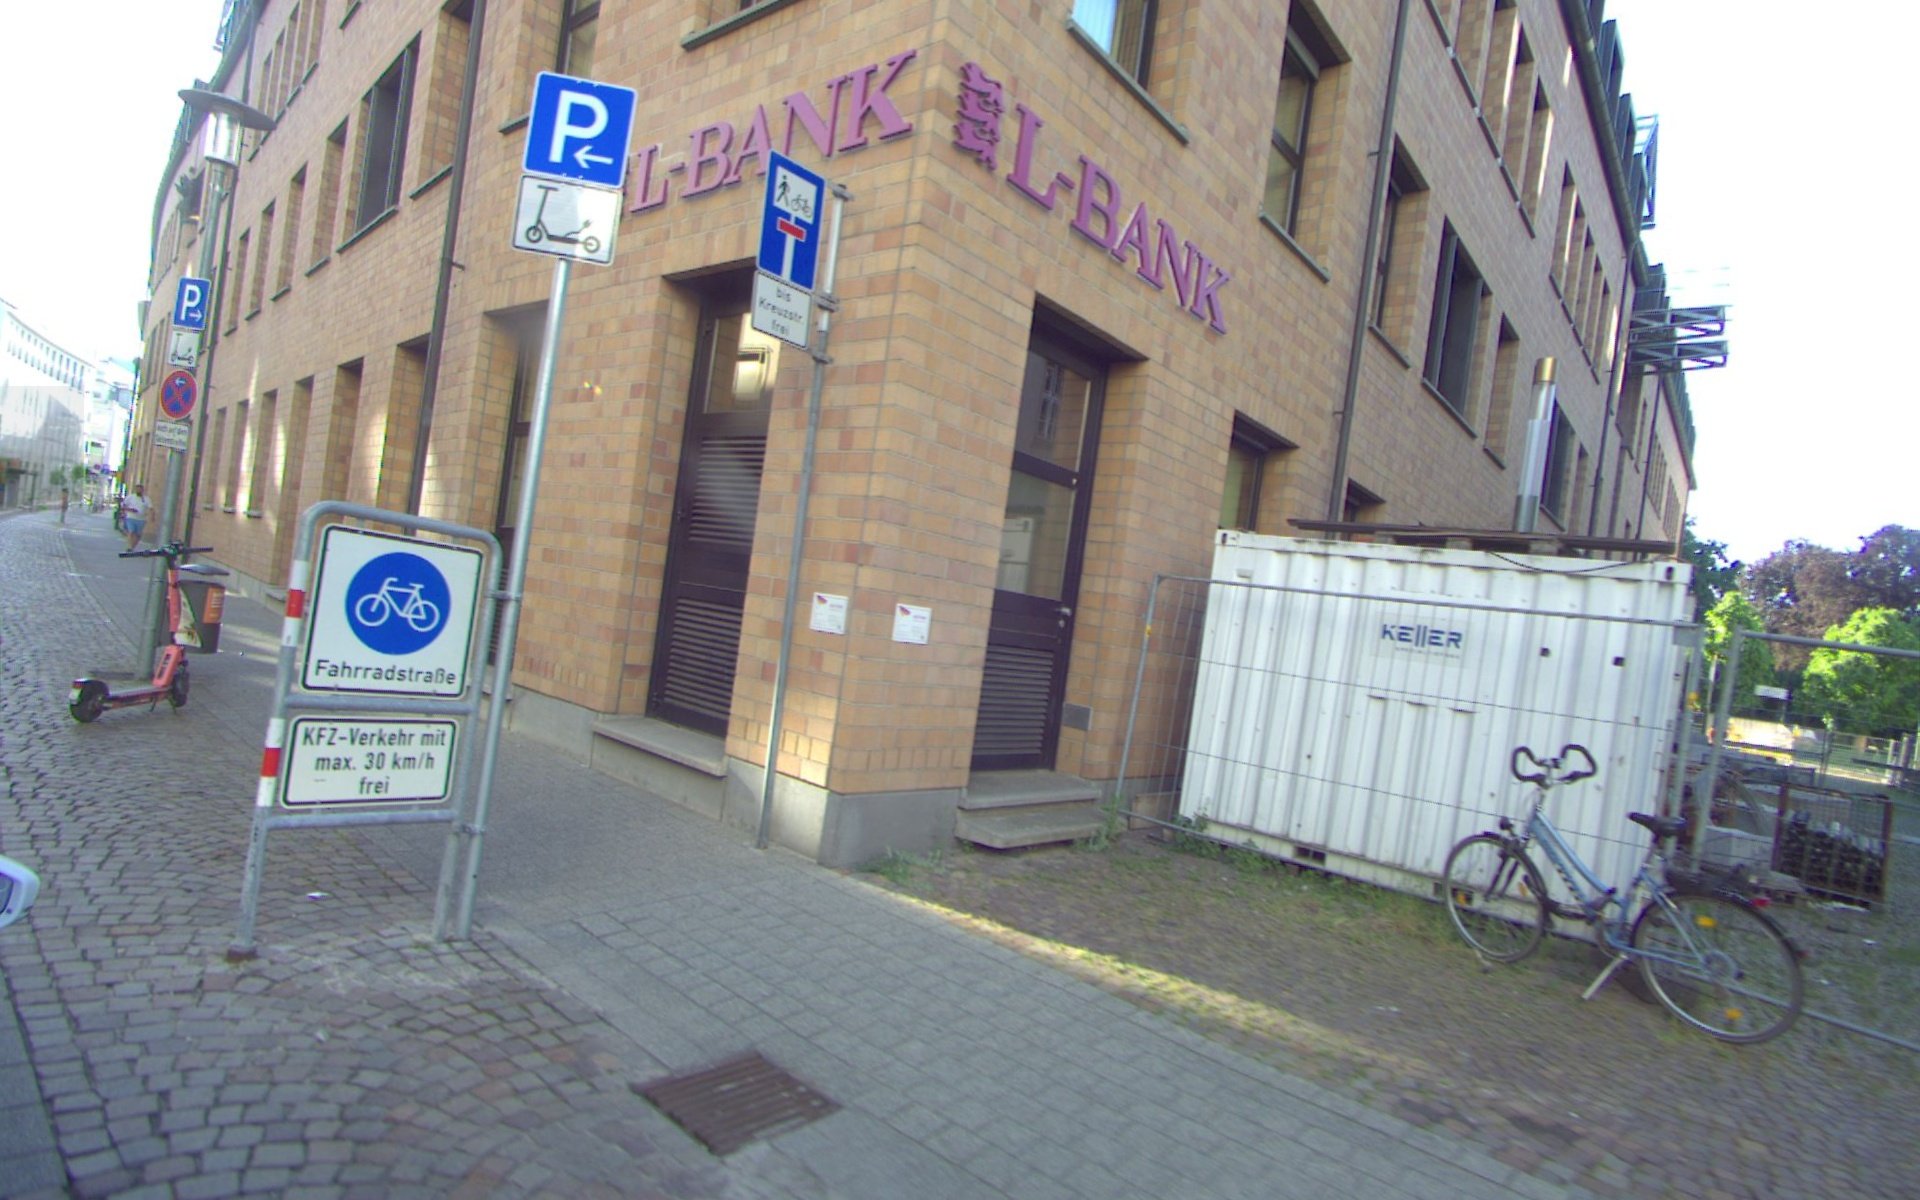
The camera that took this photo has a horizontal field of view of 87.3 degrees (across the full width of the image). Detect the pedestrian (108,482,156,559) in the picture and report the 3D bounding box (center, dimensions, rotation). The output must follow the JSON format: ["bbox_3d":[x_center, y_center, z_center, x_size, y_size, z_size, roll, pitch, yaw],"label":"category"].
[{"bbox_3d":[-20.152,-1.932,24.480,0.758,1.739,0.811,5,3,-44],"label":"pedestrian"}]

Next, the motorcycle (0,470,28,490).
[{"bbox_3d":[-78.764,-10.000,83.146,2.381,1.333,0.852,7,1,-40],"label":"motorcycle"}]

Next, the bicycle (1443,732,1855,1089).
[{"bbox_3d":[3.358,1.446,5.075,0.317,1.265,1.568,8,0,-33],"label":"bicycle"}]

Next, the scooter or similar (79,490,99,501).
[{"bbox_3d":[-98.180,-11.813,113.364,0.518,0.939,2.224,9,-1,-9],"label":"scooter or similar"}]

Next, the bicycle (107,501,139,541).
[{"bbox_3d":[-26.493,-2.512,31.818,1.956,1.118,0.548,8,4,45],"label":"bicycle"}]

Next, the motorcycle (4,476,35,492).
[{"bbox_3d":[-75.620,-9.310,80.905,1.683,0.869,0.589,11,-2,-36],"label":"motorcycle"}]

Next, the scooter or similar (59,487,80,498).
[{"bbox_3d":[-95.968,-11.568,108.437,0.518,0.939,2.224,9,-1,-9],"label":"scooter or similar"}]

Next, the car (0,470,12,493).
[{"bbox_3d":[-71.927,-8.924,74.728,1.730,1.624,3.493,10,-1,-39],"label":"car"}]

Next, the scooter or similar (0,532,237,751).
[{"bbox_3d":[-5.685,0.256,6.787,0.529,1.250,1.417,9,0,-6],"label":"scooter or similar"}]
